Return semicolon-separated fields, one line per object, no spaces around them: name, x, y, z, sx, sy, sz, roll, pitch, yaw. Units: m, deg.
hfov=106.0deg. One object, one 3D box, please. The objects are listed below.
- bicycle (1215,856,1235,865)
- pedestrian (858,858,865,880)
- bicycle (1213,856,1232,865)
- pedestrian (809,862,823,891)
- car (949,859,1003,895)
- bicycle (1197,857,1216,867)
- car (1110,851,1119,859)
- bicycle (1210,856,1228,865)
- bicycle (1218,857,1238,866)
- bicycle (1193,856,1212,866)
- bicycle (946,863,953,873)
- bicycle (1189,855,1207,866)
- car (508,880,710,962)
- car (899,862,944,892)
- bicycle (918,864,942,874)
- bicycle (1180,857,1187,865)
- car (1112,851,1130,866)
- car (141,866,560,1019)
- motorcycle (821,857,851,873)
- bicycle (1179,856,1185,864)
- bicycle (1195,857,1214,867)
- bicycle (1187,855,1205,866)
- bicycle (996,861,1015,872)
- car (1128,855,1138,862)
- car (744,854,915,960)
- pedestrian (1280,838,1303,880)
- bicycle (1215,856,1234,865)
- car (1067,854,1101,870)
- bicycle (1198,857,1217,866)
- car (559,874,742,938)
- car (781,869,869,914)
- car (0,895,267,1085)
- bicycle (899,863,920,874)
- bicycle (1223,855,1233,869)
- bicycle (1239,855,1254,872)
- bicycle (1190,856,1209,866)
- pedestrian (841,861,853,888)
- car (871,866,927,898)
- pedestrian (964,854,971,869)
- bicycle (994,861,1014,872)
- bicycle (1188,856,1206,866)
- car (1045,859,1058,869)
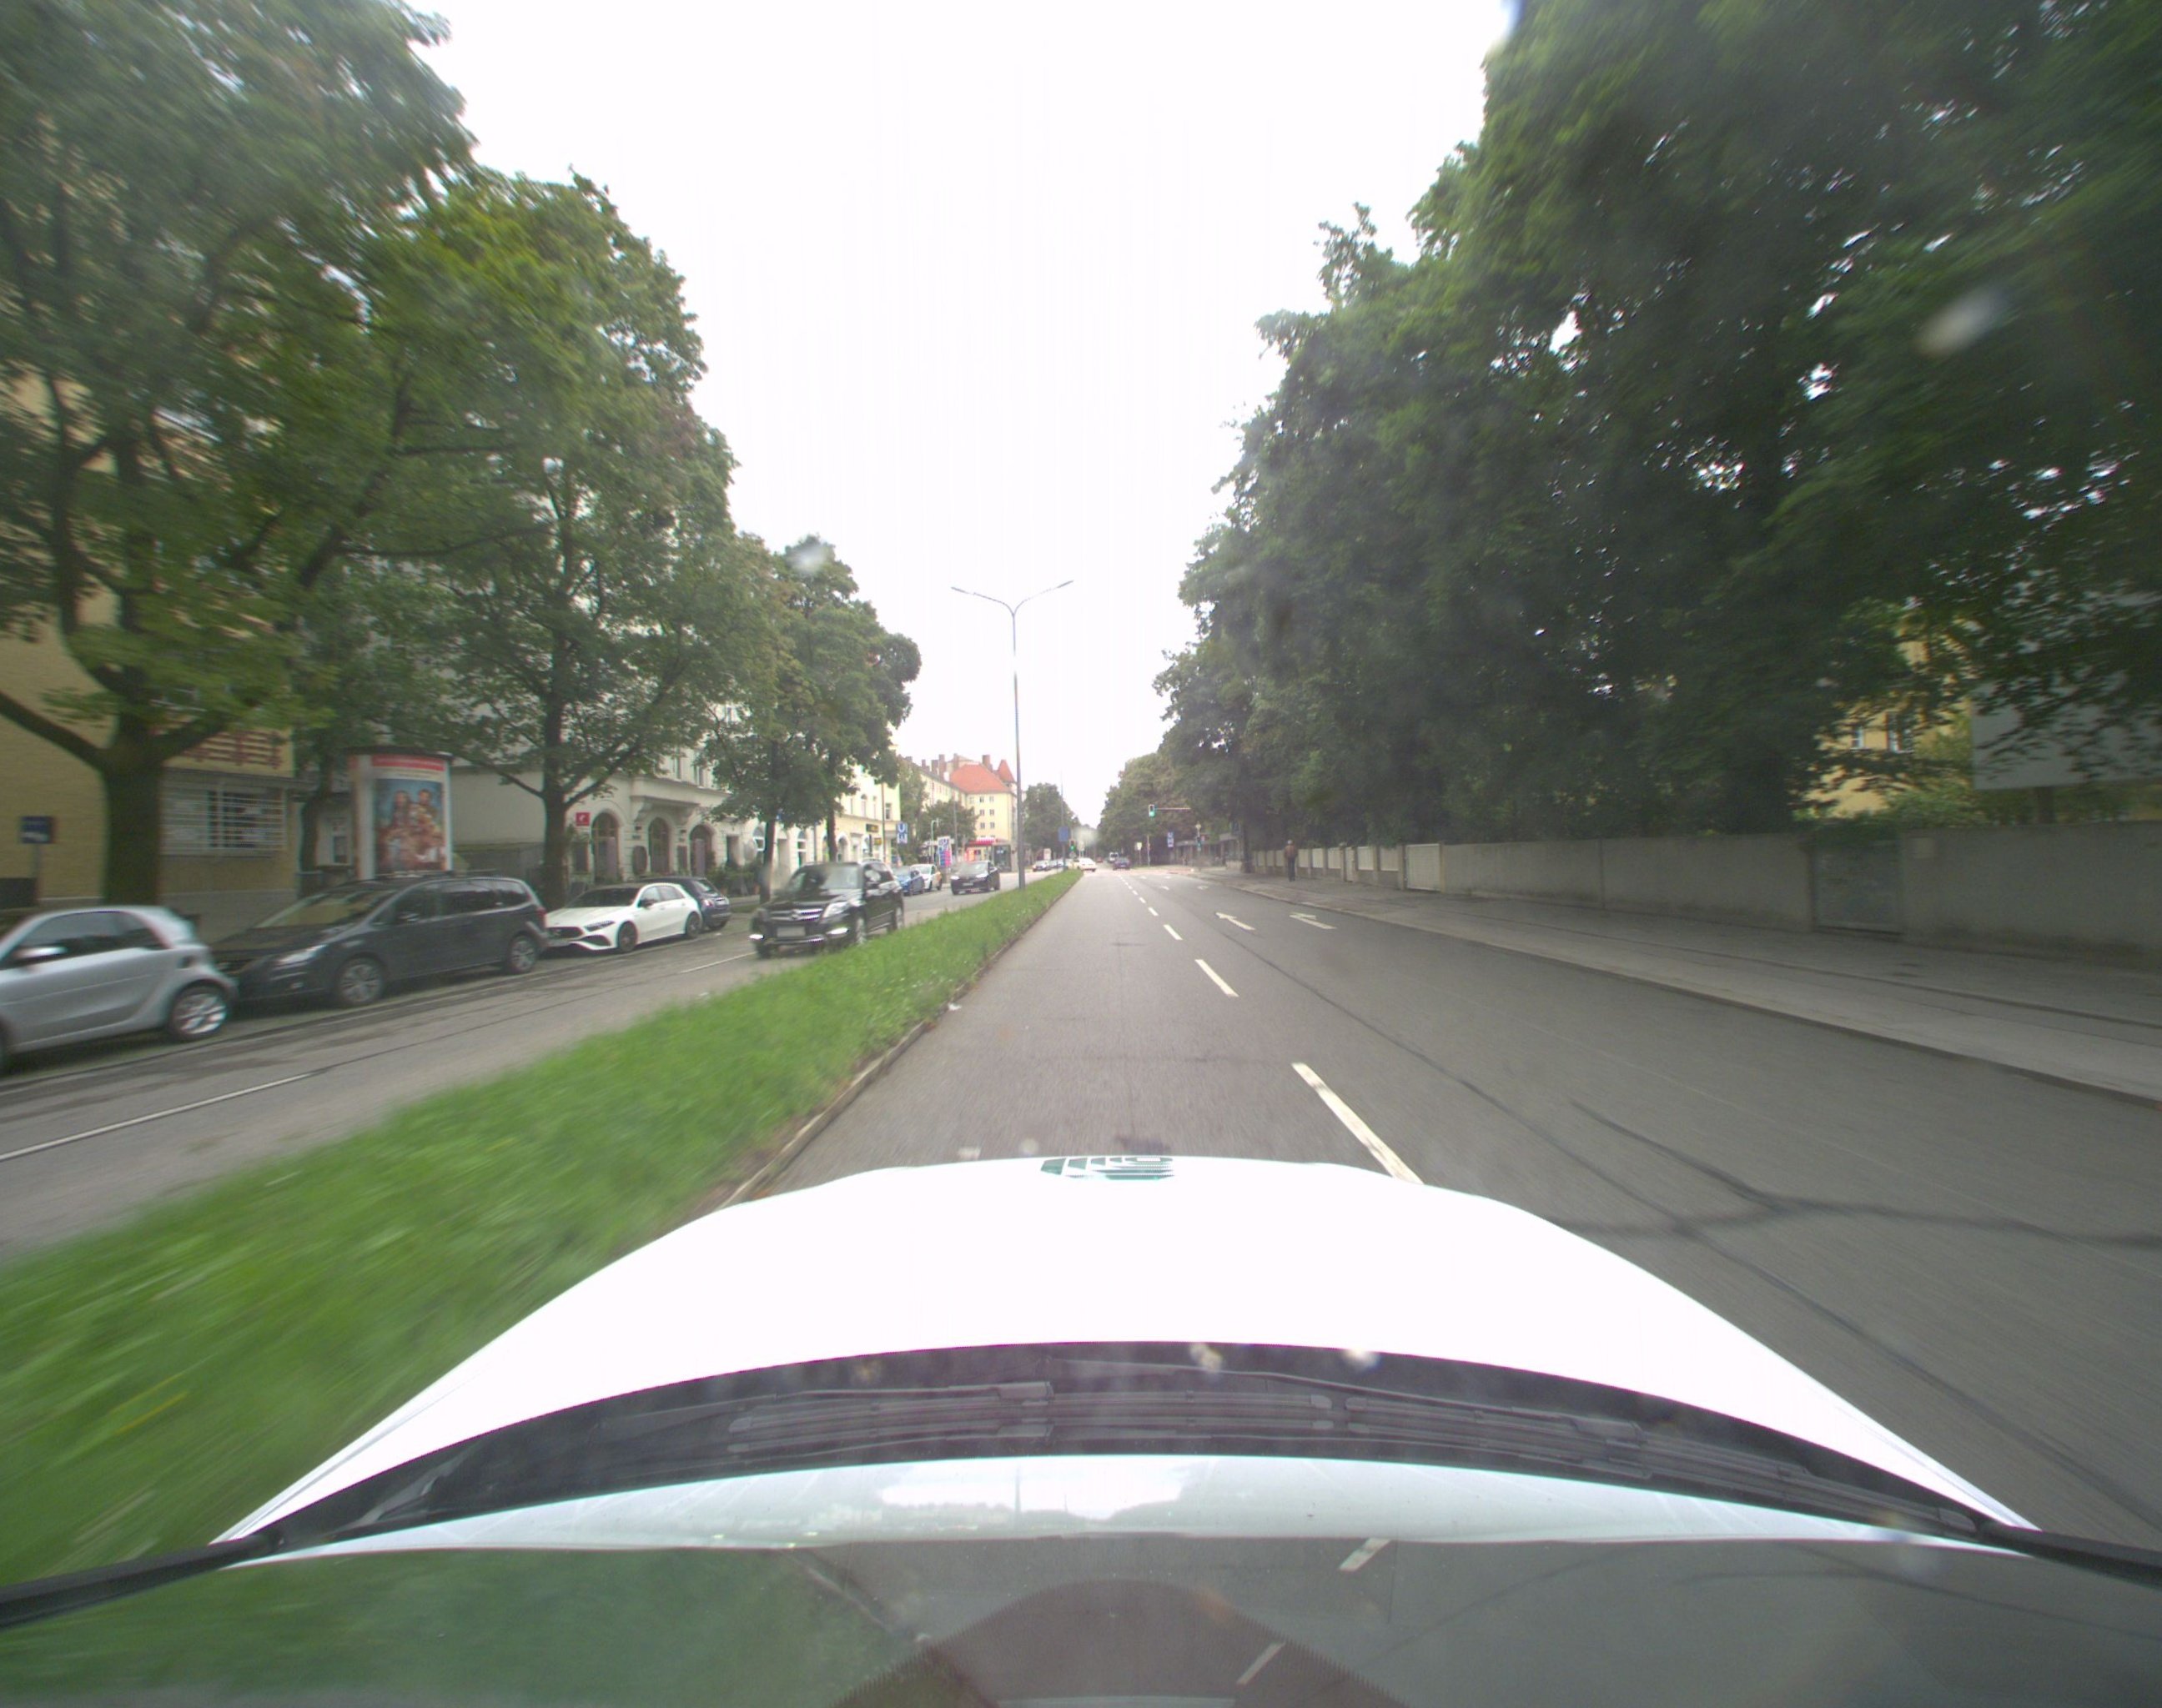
bicycle;16.490;0.770;93.267;2.130;1.014;0.636;-2;0;9
pedestrian;-16.530;1.109;61.299;0.422;1.631;0.779;-2;0;-14
bicycle;16.457;0.788;94.830;2.130;1.014;0.636;-2;0;9
pedestrian;-15.585;1.312;47.895;0.541;1.697;0.770;-2;0;-1
car;-5.263;1.124;41.461;1.868;1.585;4.622;-4;0;2
bicycle;14.115;0.881;91.583;2.130;1.014;0.604;-2;0;9
car;7.340;0.228;179.143;1.987;1.756;4.001;-2;0;1
bicycle;16.342;0.806;96.410;2.130;1.014;0.636;-2;0;9
bicycle;16.665;0.857;92.445;2.130;1.014;0.636;-2;0;9
bicycle;14.008;0.791;93.671;2.130;1.101;0.604;-2;0;9
bicycle;-16.277;1.688;100.737;0.607;1.236;2.183;-2;0;-5
bicycle;13.764;0.737;95.859;2.130;1.178;0.604;-2;0;9
car;-10.072;1.358;17.853;1.720;1.403;4.405;-2;0;2
car;-9.200;1.310;47.261;1.642;1.585;3.793;-2;0;3
bicycle;-17.997;1.787;97.015;2.720;1.251;0.786;0;-1;-29
bicycle;12.715;0.844;100.696;0.555;1.014;2.015;-2;0;0
car;4.479;0.505;92.179;1.850;1.684;4.001;-2;0;1
car;-10.298;1.097;12.156;1.804;1.728;4.769;-2;0;2
motorcycle;-17.145;0.766;57.066;0.602;1.130;1.999;-2;-1;41
bicycle;12.839;0.762;103.429;0.555;1.014;2.015;-2;0;0
bicycle;14.133;0.948;93.012;2.130;1.071;0.604;-2;0;9
bicycle;13.827;0.808;98.160;2.130;1.218;0.604;-2;0;9
bicycle;-9.382;1.564;100.910;2.276;1.304;0.694;-2;0;2
car;9.790;0.858;154.340;1.737;1.363;3.807;-2;0;1
car;-4.650;0.888;15.802;1.763;1.679;4.370;-3;0;2
pedestrian;9.930;0.224;38.487;0.775;1.942;0.802;-3;0;1
bicycle;16.517;0.780;94.034;2.130;1.014;0.636;-2;0;9
car;0.259;0.869;85.588;1.787;1.647;4.743;-2;0;-24
bicycle;14.330;0.867;92.204;2.130;1.014;0.636;-2;0;9
car;-11.353;1.339;21.659;3.877;1.464;1.732;-2;0;-1
car;-9.866;1.412;31.821;1.804;1.507;4.647;-2;0;2
car;-10.367;1.273;7.980;1.721;1.558;3.009;-2;0;-1
bicycle;-20.290;1.706;96.614;2.394;1.251;0.789;0;-1;-10
bicycle;12.741;0.713;70.689;0.597;1.121;1.890;-2;-1;2
bicycle;11.254;0.655;55.564;0.620;1.090;2.026;-2;0;1
bicycle;13.877;0.776;95.119;2.130;1.086;0.604;-2;0;9
pedestrian;-15.365;1.340;53.428;0.594;1.697;0.937;-2;-1;-26
car;-9.453;1.426;42.651;1.804;1.507;4.292;-2;0;2
pedestrian;-13.168;0.906;94.552;0.531;1.695;0.579;-2;0;10
bicycle;-9.436;1.572;99.959;2.262;1.304;0.704;-2;0;2
bicycle;13.755;0.803;96.561;2.130;1.062;0.604;-2;0;9
car;-4.557;1.571;127.940;1.753;1.460;4.001;-2;0;1
